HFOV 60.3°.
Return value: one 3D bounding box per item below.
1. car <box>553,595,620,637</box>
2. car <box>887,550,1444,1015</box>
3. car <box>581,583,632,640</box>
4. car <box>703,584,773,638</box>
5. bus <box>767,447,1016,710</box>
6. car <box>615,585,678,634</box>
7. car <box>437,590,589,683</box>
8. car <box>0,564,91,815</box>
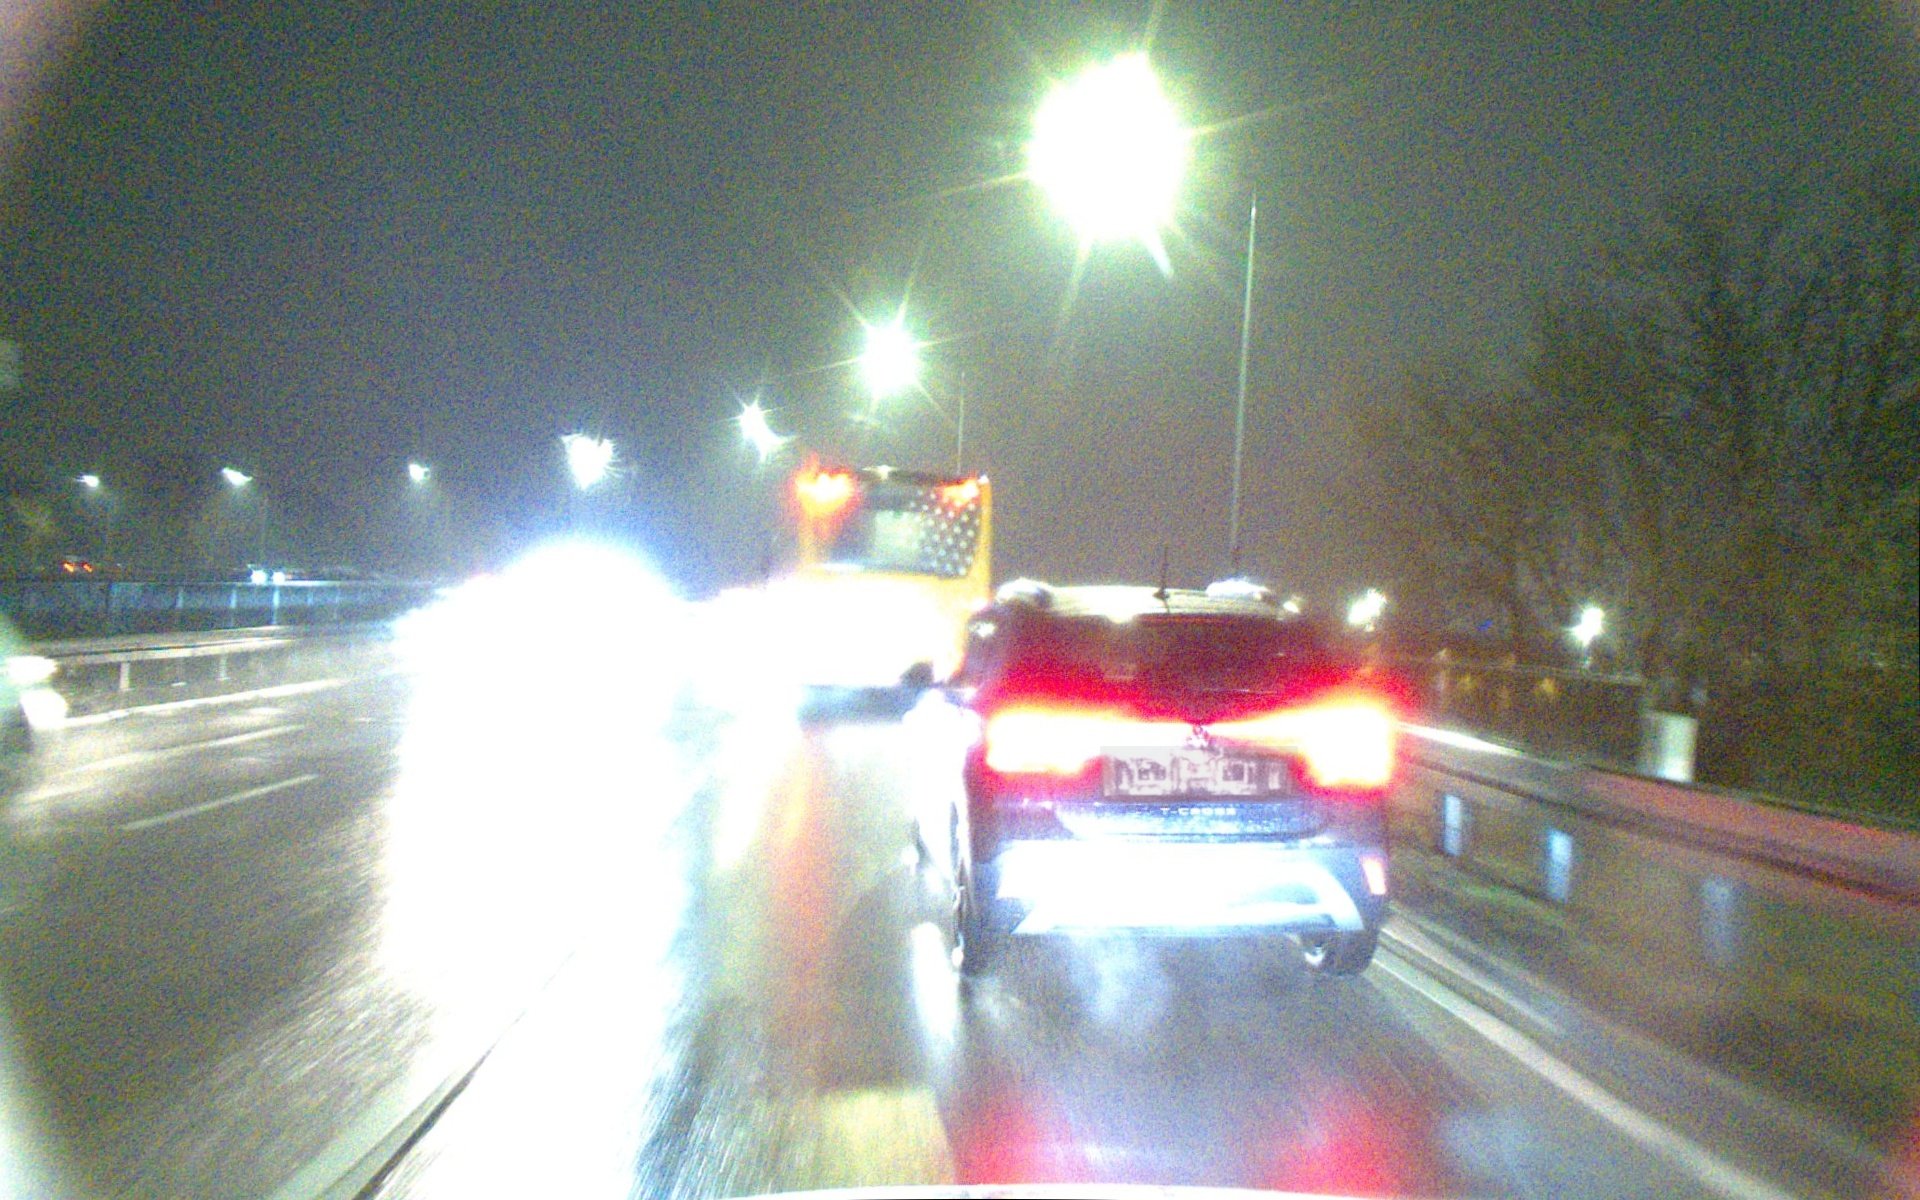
[{"bbox_3d":[-14.059,0.567,62.084,1.868,1.464,4.037,1,0,-21],"label":"car"},{"bbox_3d":[0.655,0.658,7.832,1.819,1.614,3.996,1,0,-5],"label":"car"},{"bbox_3d":[-10.819,0.339,50.708,1.445,1.612,3.182,1,1,-11],"label":"car"},{"bbox_3d":[-7.510,0.338,55.722,1.612,1.684,3.689,-1,2,-19],"label":"car"},{"bbox_3d":[-1.525,-0.347,26.839,3.024,3.187,12.680,1,1,-6],"label":"bus"},{"bbox_3d":[-13.614,0.390,71.620,1.965,2.049,3.974,1,0,-22],"label":"car"},{"bbox_3d":[-7.478,0.567,28.043,1.732,1.452,4.215,0,0,-5],"label":"car"},{"bbox_3d":[-6.750,0.539,9.235,1.730,1.544,3.948,1,0,-1],"label":"car"}]
